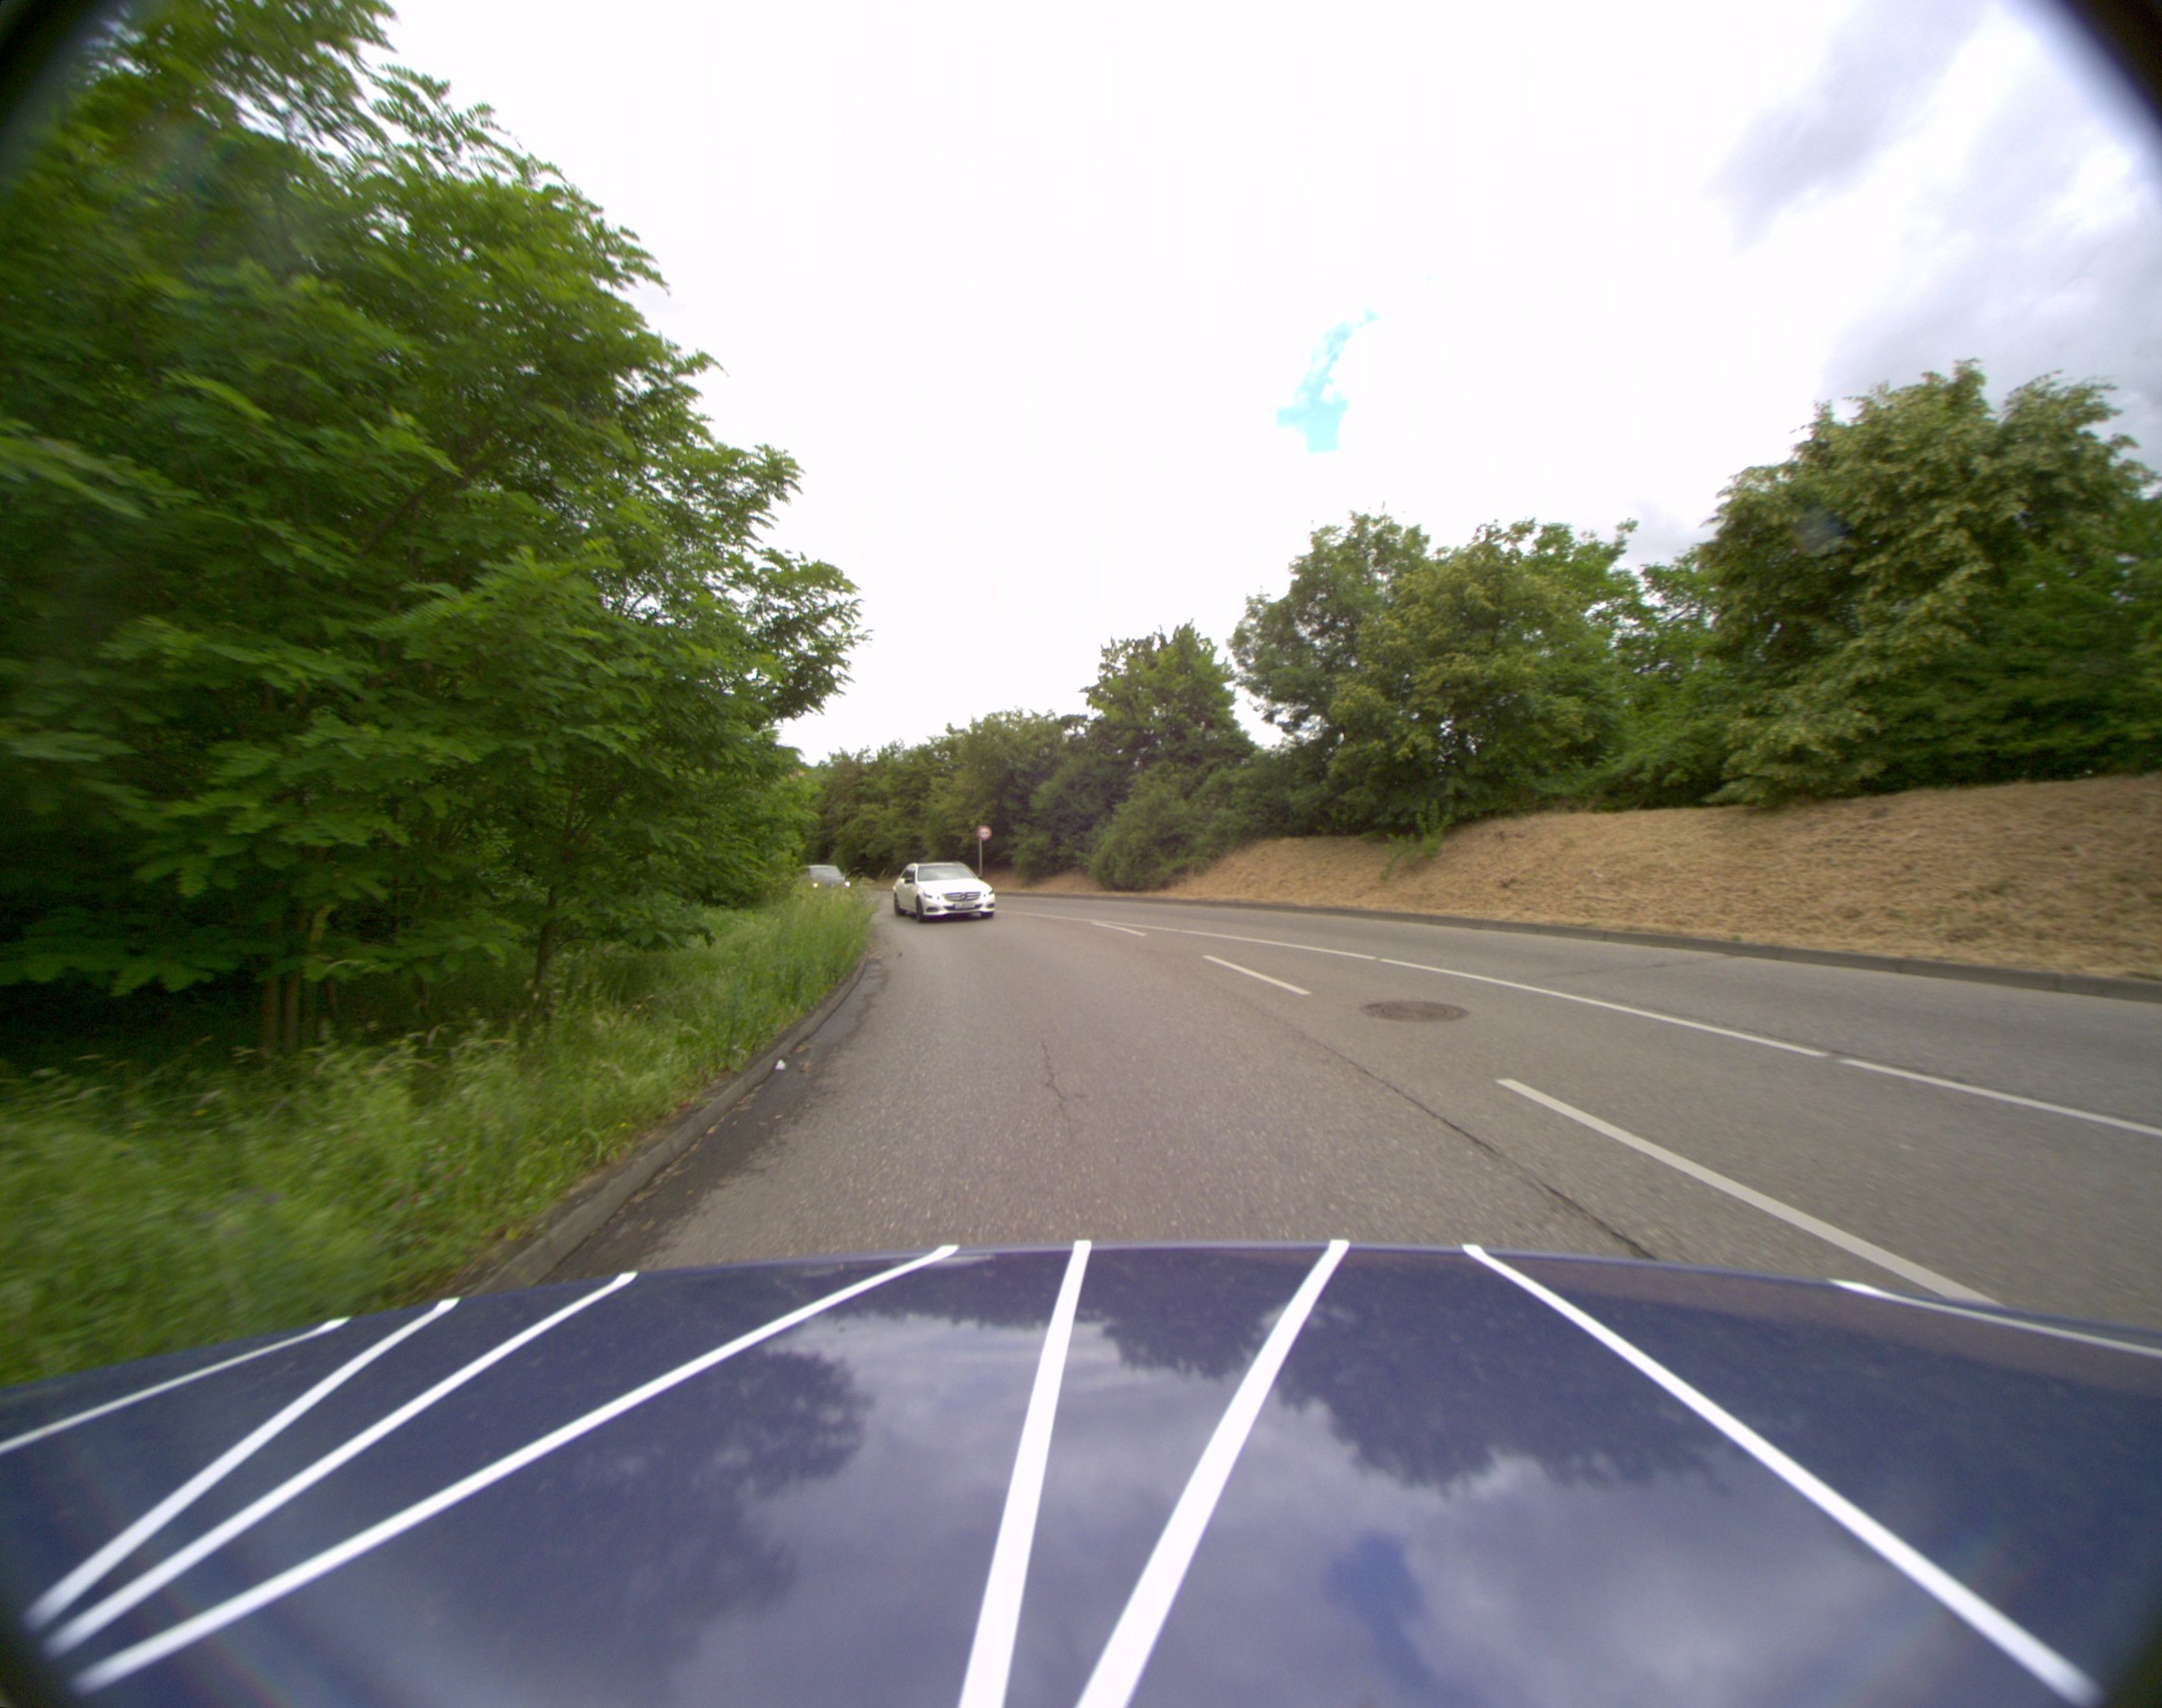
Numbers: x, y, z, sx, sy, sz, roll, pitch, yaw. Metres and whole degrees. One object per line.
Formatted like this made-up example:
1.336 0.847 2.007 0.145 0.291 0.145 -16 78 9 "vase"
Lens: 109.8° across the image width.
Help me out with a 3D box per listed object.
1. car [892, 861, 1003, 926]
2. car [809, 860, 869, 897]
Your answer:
-3.592 0.946 19.860 1.891 1.414 3.992 -3 1 -24 "car"
-10.890 1.097 34.020 1.827 1.535 3.718 0 -1 -29 "car"
